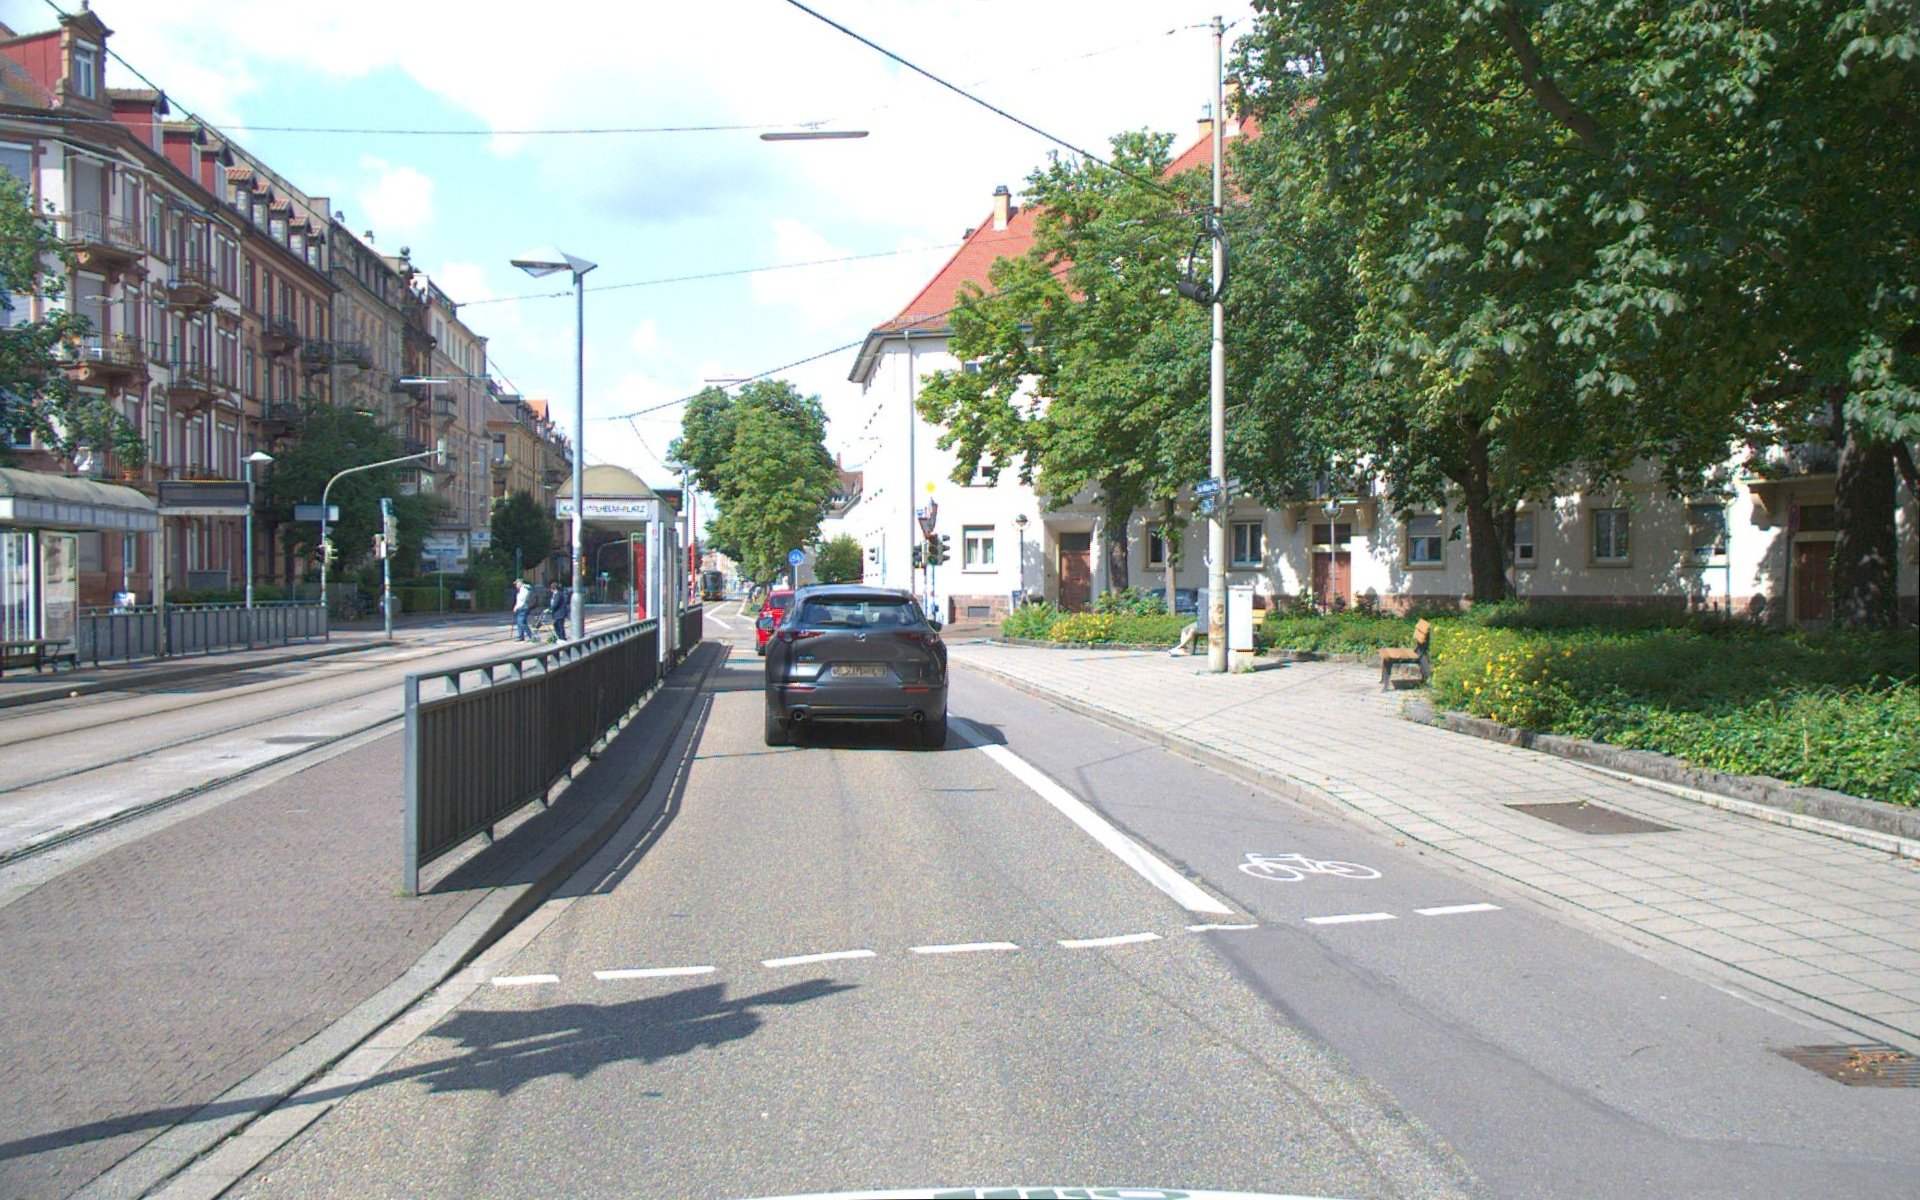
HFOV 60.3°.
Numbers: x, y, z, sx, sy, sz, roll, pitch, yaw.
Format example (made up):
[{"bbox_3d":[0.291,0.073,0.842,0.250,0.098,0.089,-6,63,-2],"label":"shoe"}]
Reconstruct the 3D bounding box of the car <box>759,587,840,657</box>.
[{"bbox_3d":[-3.741,0.458,38.066,1.741,1.489,3.836,1,0,-7],"label":"car"}]

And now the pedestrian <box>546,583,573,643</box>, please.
[{"bbox_3d":[-10.600,0.342,43.786,0.655,1.573,0.580,0,0,-8],"label":"pedestrian"}]

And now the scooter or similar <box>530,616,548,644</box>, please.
[{"bbox_3d":[-11.127,0.791,43.731,0.406,0.733,0.485,0,0,-8],"label":"scooter or similar"}]

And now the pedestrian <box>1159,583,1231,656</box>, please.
[{"bbox_3d":[4.381,0.350,30.847,1.171,1.291,0.556,-3,1,-12],"label":"pedestrian"}]

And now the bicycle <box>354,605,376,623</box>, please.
[{"bbox_3d":[-24.564,0.572,68.309,0.377,0.689,1.710,0,0,-3],"label":"bicycle"}]

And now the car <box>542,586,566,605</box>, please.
[{"bbox_3d":[-35.790,-0.406,145.940,1.626,1.624,3.923,0,0,-8],"label":"car"}]

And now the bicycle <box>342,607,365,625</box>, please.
[{"bbox_3d":[-24.240,0.631,66.129,0.377,0.664,1.710,0,0,-3],"label":"bicycle"}]

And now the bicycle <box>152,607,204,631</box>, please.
[{"bbox_3d":[-26.378,0.644,55.793,0.378,0.760,1.708,0,0,28],"label":"bicycle"}]

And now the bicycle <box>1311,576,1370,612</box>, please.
[{"bbox_3d":[11.484,-0.176,49.944,0.563,1.037,1.725,-3,2,-44],"label":"bicycle"}]

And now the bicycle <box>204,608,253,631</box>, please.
[{"bbox_3d":[-25.445,0.678,57.563,0.378,0.760,1.708,0,0,28],"label":"bicycle"}]

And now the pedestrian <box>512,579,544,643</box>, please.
[{"bbox_3d":[-11.577,0.293,44.330,0.756,1.704,0.666,0,0,-8],"label":"pedestrian"}]

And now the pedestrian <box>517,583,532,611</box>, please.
[{"bbox_3d":[-26.801,-0.165,101.838,0.772,1.718,0.731,0,0,-6],"label":"pedestrian"}]

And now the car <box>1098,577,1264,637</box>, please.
[{"bbox_3d":[5.995,0.165,44.978,4.087,1.536,1.845,0,2,35],"label":"car"}]

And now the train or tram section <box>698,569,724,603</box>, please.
[{"bbox_3d":[-31.680,-1.740,211.179,2.941,4.053,13.786,0,0,-7],"label":"train or tram section"}]

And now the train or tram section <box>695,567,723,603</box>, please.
[{"bbox_3d":[-29.966,-1.751,197.650,2.941,4.053,13.786,0,0,-7],"label":"train or tram section"}]

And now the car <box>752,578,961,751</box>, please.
[{"bbox_3d":[-1.184,0.586,17.139,1.749,1.540,3.991,2,0,-9],"label":"car"}]
